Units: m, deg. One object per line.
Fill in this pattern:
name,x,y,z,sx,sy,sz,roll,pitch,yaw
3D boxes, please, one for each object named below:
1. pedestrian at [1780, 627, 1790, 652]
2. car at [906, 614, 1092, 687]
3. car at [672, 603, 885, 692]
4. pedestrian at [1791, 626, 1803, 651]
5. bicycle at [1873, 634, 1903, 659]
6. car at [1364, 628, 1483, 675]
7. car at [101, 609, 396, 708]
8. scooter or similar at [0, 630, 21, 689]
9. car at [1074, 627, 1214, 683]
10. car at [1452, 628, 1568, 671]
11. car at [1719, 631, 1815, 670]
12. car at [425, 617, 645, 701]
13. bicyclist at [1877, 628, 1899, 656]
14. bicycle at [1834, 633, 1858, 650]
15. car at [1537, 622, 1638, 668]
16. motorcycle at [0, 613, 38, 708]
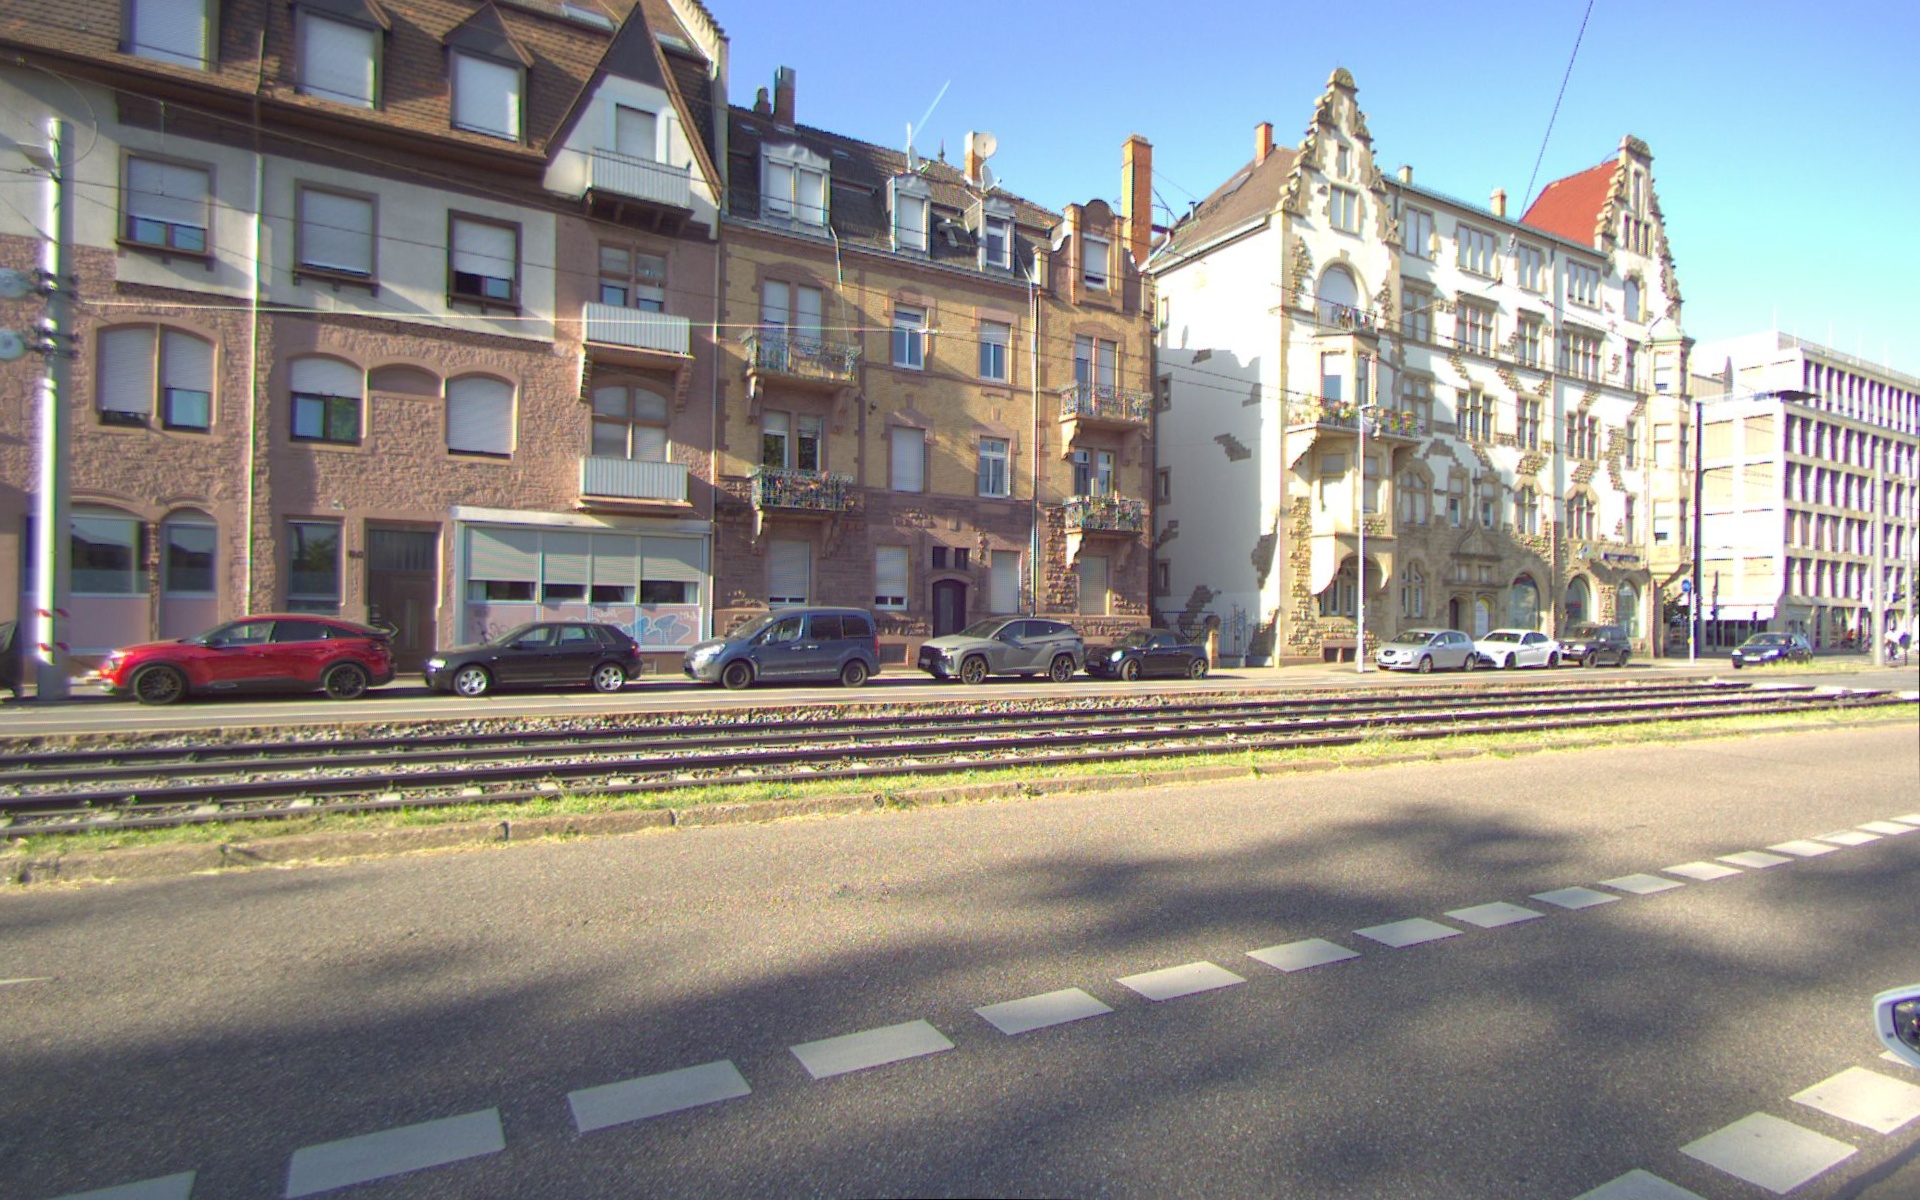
pedestrian,62.741,3.002,76.394,0.464,1.868,0.443,0,-1,23
car,1.024,1.256,25.735,4.450,1.644,1.846,1,2,-31
car,-4.089,1.036,22.729,4.361,1.782,1.878,1,2,-28
pedestrian,63.303,2.934,75.977,0.522,1.868,0.443,0,-1,23
bicycle,52.522,2.636,56.845,1.923,1.400,0.682,1,-2,-29
car,15.927,1.716,34.476,4.177,1.450,1.700,1,1,-32
car,-12.577,0.993,18.133,4.162,1.519,1.846,1,2,-31
scooter or similar,-17.918,1.090,18.335,1.108,1.083,0.203,1,0,-30
car,5.168,1.508,28.085,3.683,1.373,1.614,1,2,-31
car,20.535,1.808,37.452,4.603,1.442,1.708,1,1,-32
car,32.502,1.996,40.435,4.120,1.476,1.810,1,-2,-33
car,-8.500,1.122,20.148,3.882,1.457,1.686,1,2,-31
bicyclist,52.501,2.366,56.835,0.775,1.583,0.682,1,-2,-28
bicycle,66.924,3.115,75.830,2.359,1.231,0.573,1,-2,-28
car,25.122,1.772,40.178,4.169,1.698,1.708,1,1,-31
motorcycle,-15.770,0.964,16.392,0.621,1.441,1.847,0,1,-28
